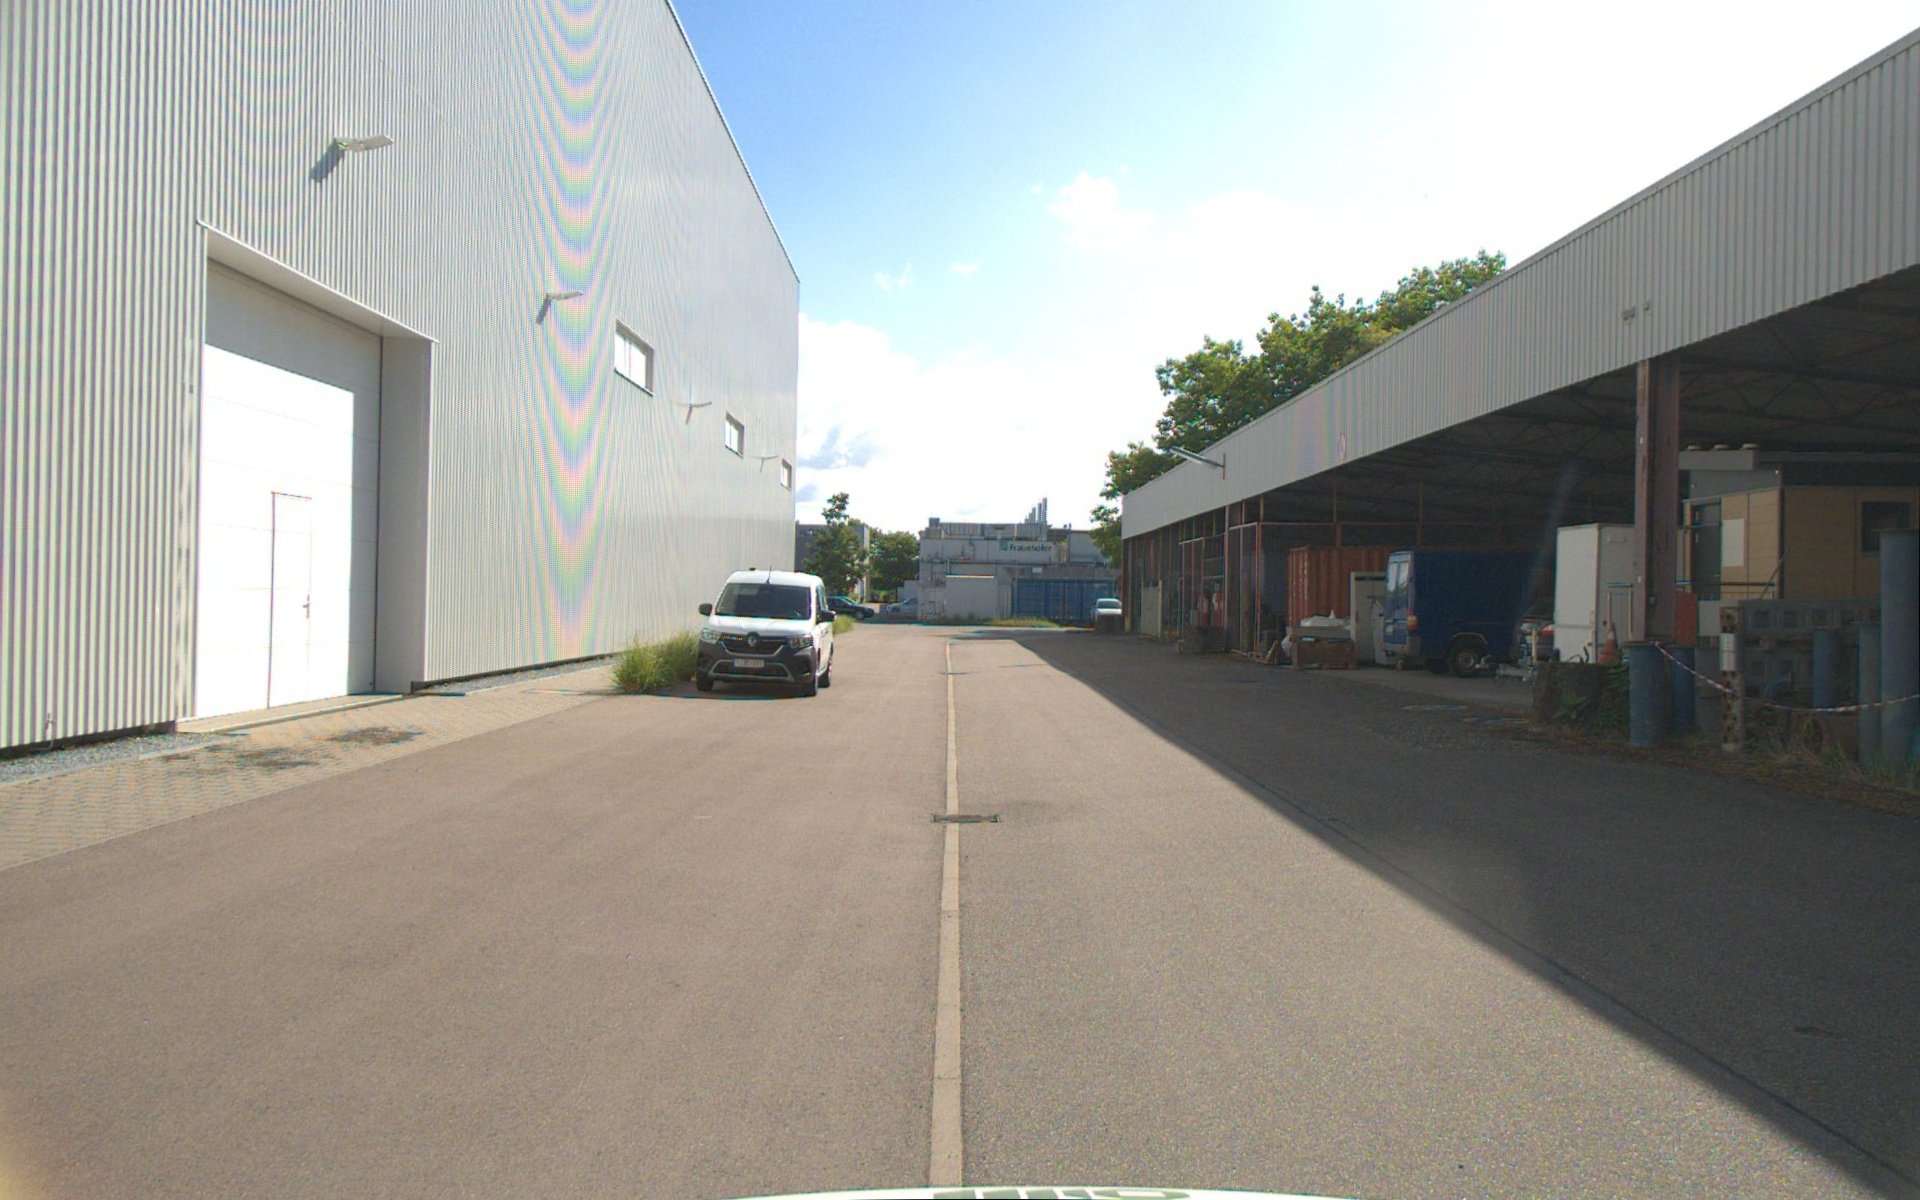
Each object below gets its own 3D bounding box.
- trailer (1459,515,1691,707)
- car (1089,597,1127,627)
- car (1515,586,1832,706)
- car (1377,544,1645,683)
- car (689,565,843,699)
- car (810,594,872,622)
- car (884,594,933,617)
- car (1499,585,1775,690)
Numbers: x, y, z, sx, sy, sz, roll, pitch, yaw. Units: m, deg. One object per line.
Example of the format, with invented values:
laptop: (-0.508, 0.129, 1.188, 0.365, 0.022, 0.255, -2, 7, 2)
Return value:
trailer: (8.189, 0.154, 22.178, 2.472, 2.441, 1.727, 1, -1, 0)
car: (8.515, 0.682, 95.437, 1.921, 1.592, 4.060, 2, 1, 1)
car: (10.478, 0.683, 24.467, 3.955, 1.551, 1.684, 2, -2, 0)
car: (10.252, 0.282, 30.987, 4.342, 2.350, 1.915, 2, -2, 0)
car: (-2.892, 0.434, 25.514, 1.781, 1.818, 4.405, 2, 0, 0)
car: (-7.745, 0.510, 107.674, 3.906, 1.626, 1.741, 2, -2, -2)
car: (-4.209, 0.467, 135.593, 3.906, 1.626, 1.847, 2, -2, -2)
car: (11.358, 0.639, 27.901, 3.955, 1.551, 1.684, 2, -2, 0)
